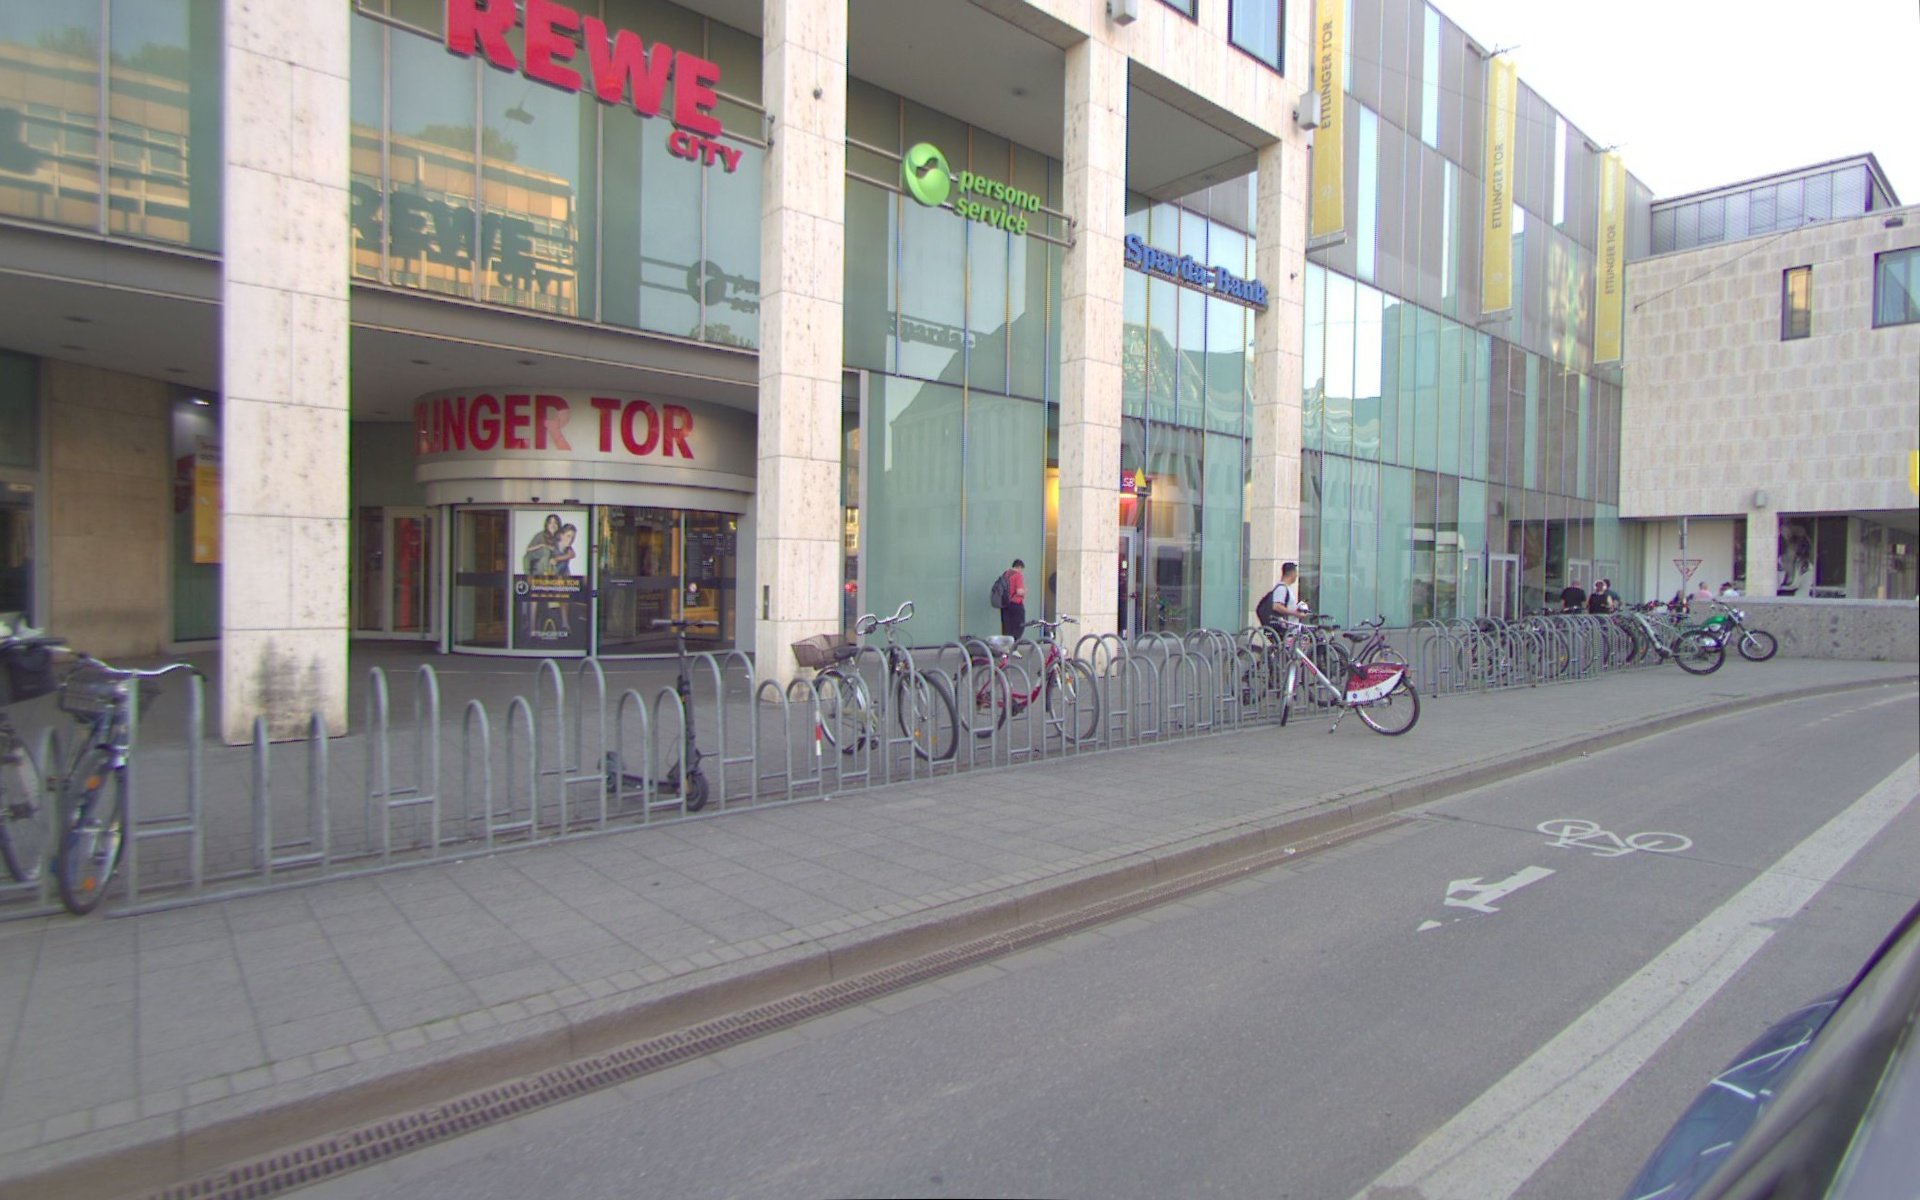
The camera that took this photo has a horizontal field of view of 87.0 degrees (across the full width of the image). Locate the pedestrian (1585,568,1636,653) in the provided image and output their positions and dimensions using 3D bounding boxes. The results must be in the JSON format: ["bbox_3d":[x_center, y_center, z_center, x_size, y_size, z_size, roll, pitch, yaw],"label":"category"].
[{"bbox_3d":[13.004,0.195,20.255,0.802,1.663,0.640,1,1,31],"label":"pedestrian"}]

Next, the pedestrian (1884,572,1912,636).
[{"bbox_3d":[26.359,0.112,28.440,0.483,1.765,0.455,0,1,-38],"label":"pedestrian"}]

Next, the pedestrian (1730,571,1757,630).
[{"bbox_3d":[23.929,0.005,30.903,0.644,1.765,0.494,0,1,-38],"label":"pedestrian"}]

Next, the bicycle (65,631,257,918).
[{"bbox_3d":[-3.988,0.753,5.001,1.768,1.092,0.475,3,2,43],"label":"bicycle"}]

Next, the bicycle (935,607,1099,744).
[{"bbox_3d":[0.483,0.631,9.098,0.543,1.120,1.516,0,-1,-43],"label":"bicycle"}]

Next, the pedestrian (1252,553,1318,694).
[{"bbox_3d":[4.102,0.275,12.754,0.700,1.713,0.624,1,1,25],"label":"pedestrian"}]

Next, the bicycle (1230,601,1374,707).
[{"bbox_3d":[3.935,0.594,11.742,0.570,1.138,1.519,0,-1,-37],"label":"bicycle"}]

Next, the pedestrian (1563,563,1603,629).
[{"bbox_3d":[16.243,-0.116,26.381,0.737,1.668,0.808,2,1,40],"label":"pedestrian"}]

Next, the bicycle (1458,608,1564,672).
[{"bbox_3d":[8.499,0.604,15.642,0.509,0.944,1.344,0,-1,-41],"label":"bicycle"}]

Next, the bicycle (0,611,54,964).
[{"bbox_3d":[-3.878,0.675,3.800,0.538,1.198,1.484,0,2,-35],"label":"bicycle"}]

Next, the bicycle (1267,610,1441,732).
[{"bbox_3d":[3.728,0.635,9.679,0.458,1.077,1.518,0,-1,-39],"label":"bicycle"}]

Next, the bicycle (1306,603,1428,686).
[{"bbox_3d":[5.567,0.593,13.883,1.439,1.078,0.572,-1,-1,39],"label":"bicycle"}]

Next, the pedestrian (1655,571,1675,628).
[{"bbox_3d":[22.309,-0.022,32.019,0.444,1.765,0.364,0,1,-38],"label":"pedestrian"}]

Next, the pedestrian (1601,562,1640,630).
[{"bbox_3d":[16.943,-0.120,25.943,0.696,1.717,0.808,2,1,42],"label":"pedestrian"}]

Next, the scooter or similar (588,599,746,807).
[{"bbox_3d":[-1.959,0.620,6.701,0.484,1.214,1.194,0,2,-44],"label":"scooter or similar"}]

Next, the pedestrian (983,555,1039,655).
[{"bbox_3d":[0.878,0.074,17.354,0.695,1.672,0.629,0,1,-40],"label":"pedestrian"}]

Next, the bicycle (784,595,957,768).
[{"bbox_3d":[-0.749,0.595,8.093,0.607,1.243,1.517,0,-1,-41],"label":"bicycle"}]

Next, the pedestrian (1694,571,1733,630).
[{"bbox_3d":[23.205,0.012,31.177,0.644,1.765,0.794,0,1,-38],"label":"pedestrian"}]

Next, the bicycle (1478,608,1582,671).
[{"bbox_3d":[9.009,0.607,16.022,0.509,0.944,1.344,0,-1,-41],"label":"bicycle"}]

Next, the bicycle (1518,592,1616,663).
[{"bbox_3d":[10.383,0.461,17.332,0.509,1.178,1.344,0,-1,-41],"label":"bicycle"}]

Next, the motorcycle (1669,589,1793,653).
[{"bbox_3d":[16.128,0.410,21.208,0.473,1.239,2.004,0,2,-43],"label":"motorcycle"}]

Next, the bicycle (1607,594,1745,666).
[{"bbox_3d":[12.118,0.493,17.183,0.458,1.161,1.837,0,-1,-39],"label":"bicycle"}]

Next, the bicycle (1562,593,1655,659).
[{"bbox_3d":[11.945,0.462,18.658,0.509,1.178,1.344,0,-1,-41],"label":"bicycle"}]

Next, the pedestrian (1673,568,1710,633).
[{"bbox_3d":[20.615,0.004,28.532,0.797,1.802,0.619,0,1,-38],"label":"pedestrian"}]
